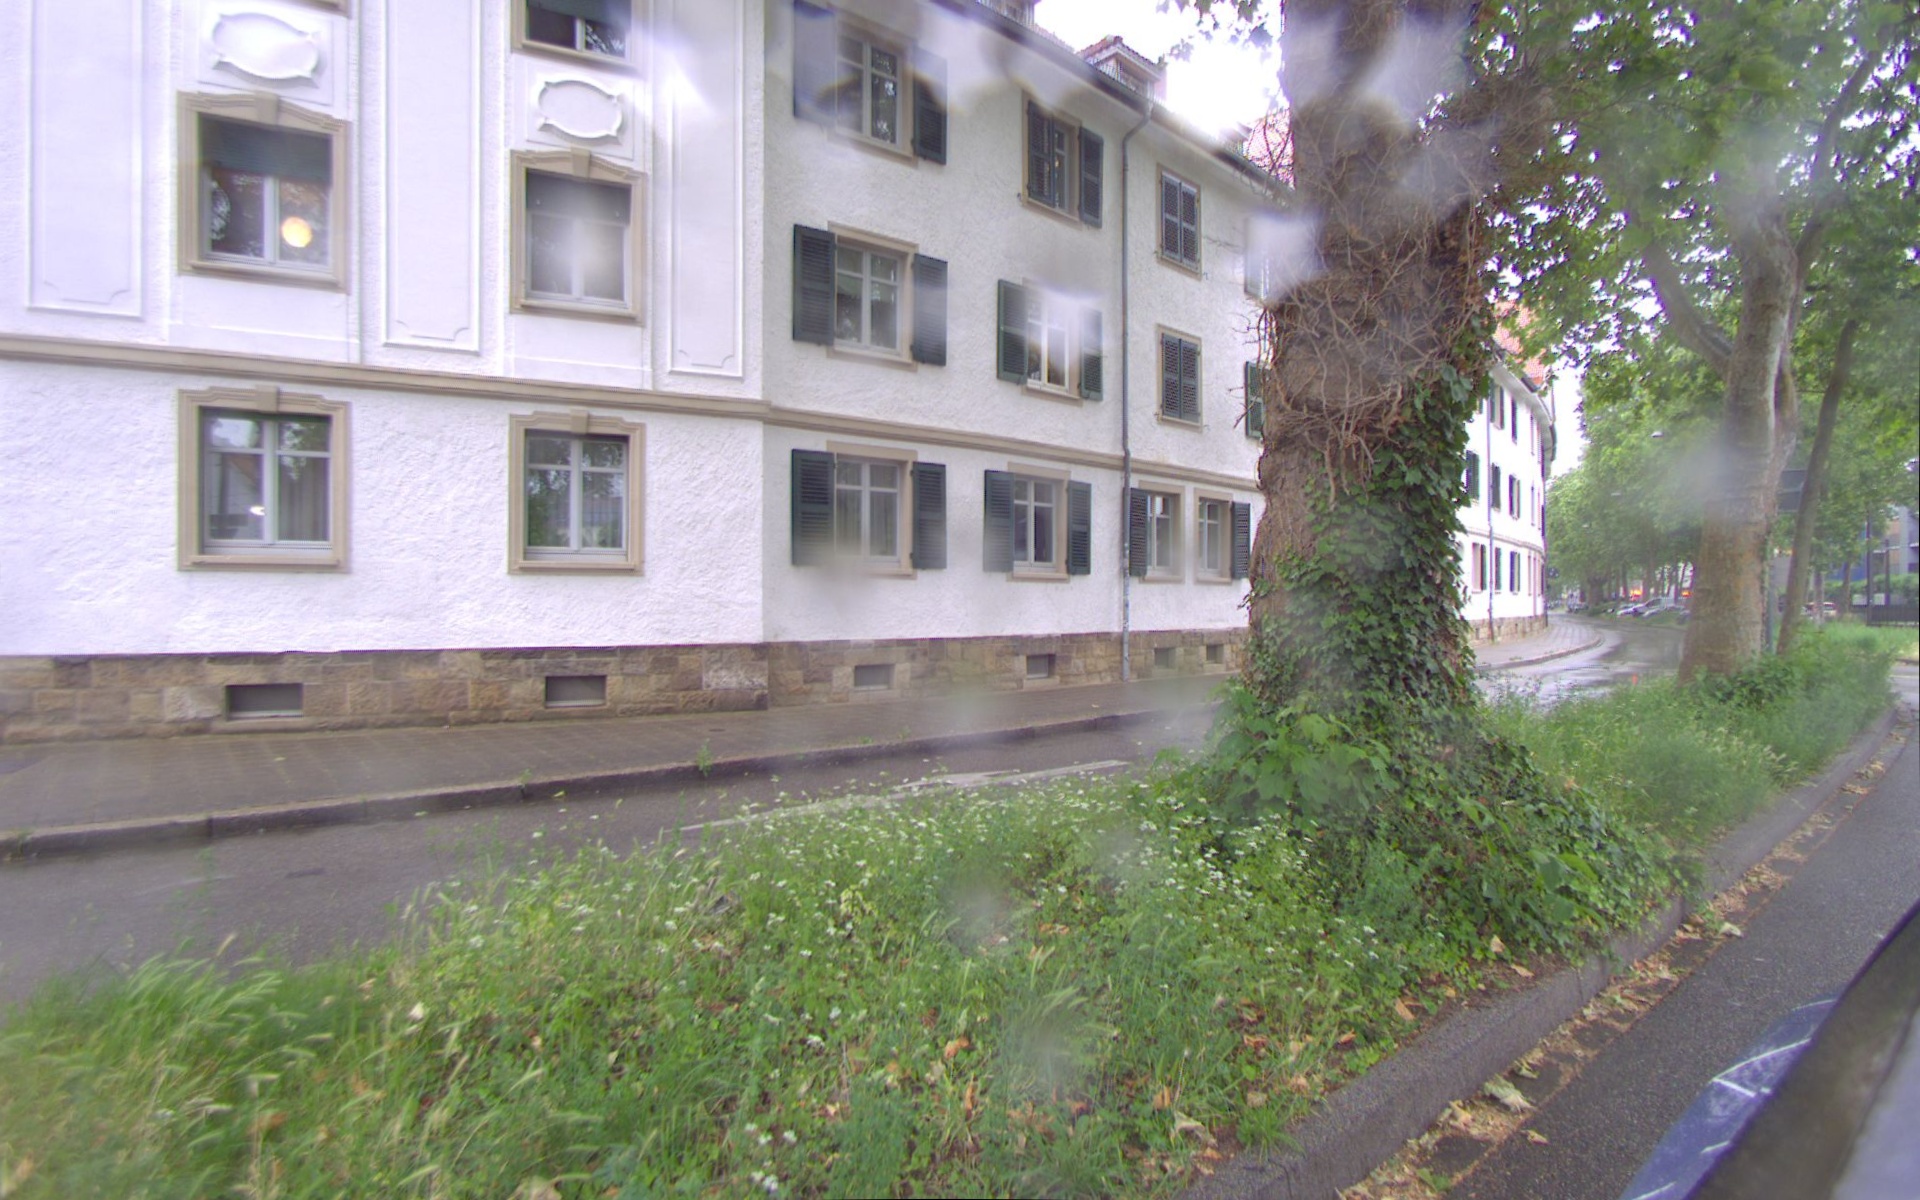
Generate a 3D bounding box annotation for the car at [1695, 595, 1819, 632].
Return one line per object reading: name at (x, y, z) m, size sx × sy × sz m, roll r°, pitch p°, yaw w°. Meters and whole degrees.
car at (38.153, 0.614, 48.548) m, size 1.892 × 1.560 × 4.236 m, roll 0°, pitch 1°, yaw -30°

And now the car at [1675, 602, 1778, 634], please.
car at (43.642, 0.998, 57.690) m, size 1.715 × 1.632 × 4.335 m, roll 1°, pitch 1°, yaw -35°

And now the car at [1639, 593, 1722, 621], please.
car at (56.610, 0.496, 79.576) m, size 1.960 × 2.039 × 4.899 m, roll 1°, pitch 1°, yaw -30°

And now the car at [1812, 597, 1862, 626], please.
car at (57.766, 0.719, 66.711) m, size 1.677 × 1.745 × 3.656 m, roll 2°, pitch 1°, yaw 28°
